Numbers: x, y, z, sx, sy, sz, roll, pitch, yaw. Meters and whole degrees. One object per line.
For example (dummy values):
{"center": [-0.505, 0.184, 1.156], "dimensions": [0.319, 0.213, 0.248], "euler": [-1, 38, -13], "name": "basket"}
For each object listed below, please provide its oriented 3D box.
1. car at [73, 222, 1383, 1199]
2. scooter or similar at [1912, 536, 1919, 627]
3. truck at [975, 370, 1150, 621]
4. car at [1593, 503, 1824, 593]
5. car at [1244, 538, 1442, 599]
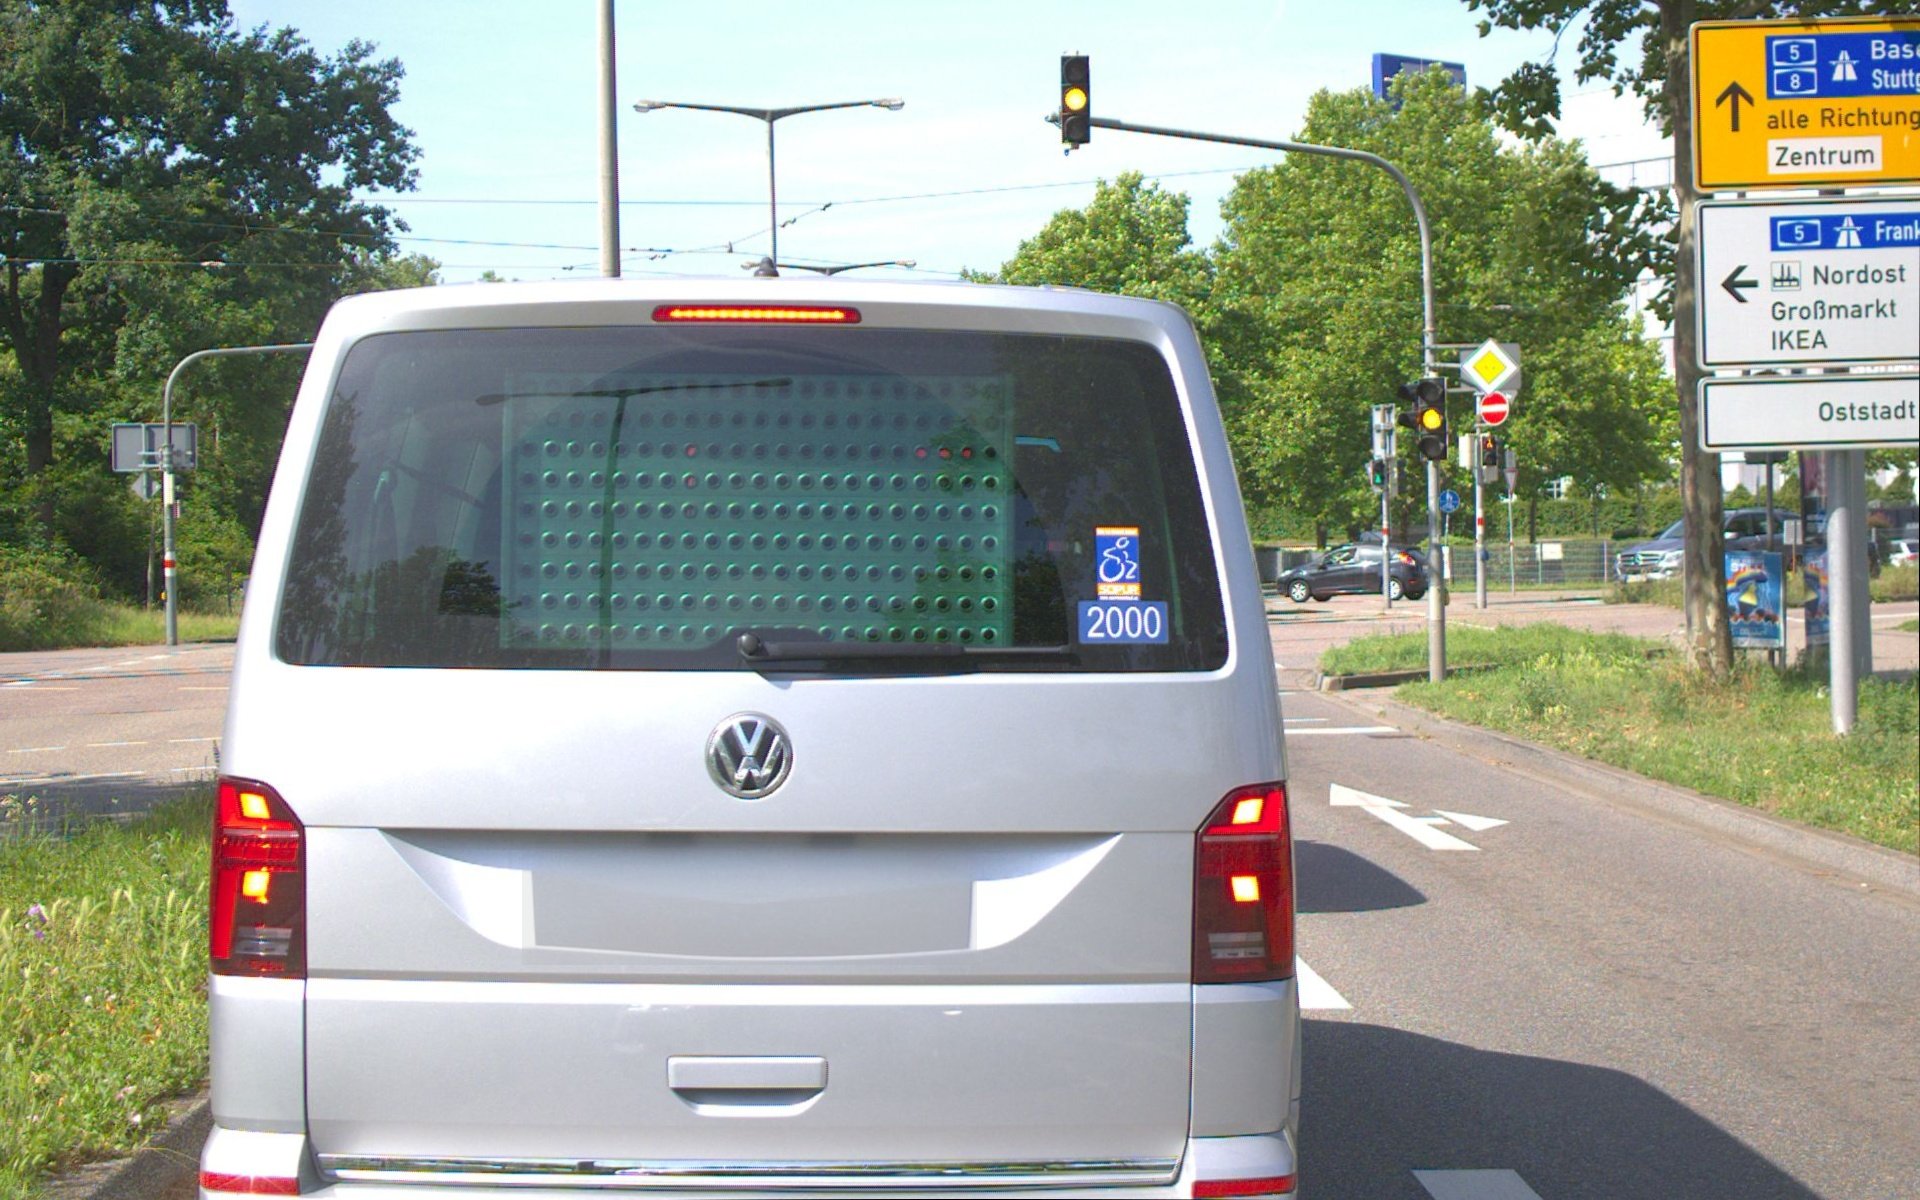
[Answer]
{"center": [-0.370, 0.387, 7.649], "dimensions": [1.941, 1.965, 5.022], "euler": [-1, 1, -1], "name": "car"}
{"center": [12.133, -0.227, 42.400], "dimensions": [0.424, 1.122, 1.124], "euler": [-1, 1, -1], "name": "scooter or similar"}
{"center": [1.653, -1.733, 59.159], "dimensions": [2.552, 3.943, 8.975], "euler": [-1, 1, -1], "name": "truck"}
{"center": [14.994, -1.055, 68.772], "dimensions": [4.613, 1.683, 1.915], "euler": [-2, 1, -37], "name": "car"}
{"center": [9.652, -0.788, 86.747], "dimensions": [4.620, 1.439, 1.778], "euler": [-1, 1, 32], "name": "car"}
